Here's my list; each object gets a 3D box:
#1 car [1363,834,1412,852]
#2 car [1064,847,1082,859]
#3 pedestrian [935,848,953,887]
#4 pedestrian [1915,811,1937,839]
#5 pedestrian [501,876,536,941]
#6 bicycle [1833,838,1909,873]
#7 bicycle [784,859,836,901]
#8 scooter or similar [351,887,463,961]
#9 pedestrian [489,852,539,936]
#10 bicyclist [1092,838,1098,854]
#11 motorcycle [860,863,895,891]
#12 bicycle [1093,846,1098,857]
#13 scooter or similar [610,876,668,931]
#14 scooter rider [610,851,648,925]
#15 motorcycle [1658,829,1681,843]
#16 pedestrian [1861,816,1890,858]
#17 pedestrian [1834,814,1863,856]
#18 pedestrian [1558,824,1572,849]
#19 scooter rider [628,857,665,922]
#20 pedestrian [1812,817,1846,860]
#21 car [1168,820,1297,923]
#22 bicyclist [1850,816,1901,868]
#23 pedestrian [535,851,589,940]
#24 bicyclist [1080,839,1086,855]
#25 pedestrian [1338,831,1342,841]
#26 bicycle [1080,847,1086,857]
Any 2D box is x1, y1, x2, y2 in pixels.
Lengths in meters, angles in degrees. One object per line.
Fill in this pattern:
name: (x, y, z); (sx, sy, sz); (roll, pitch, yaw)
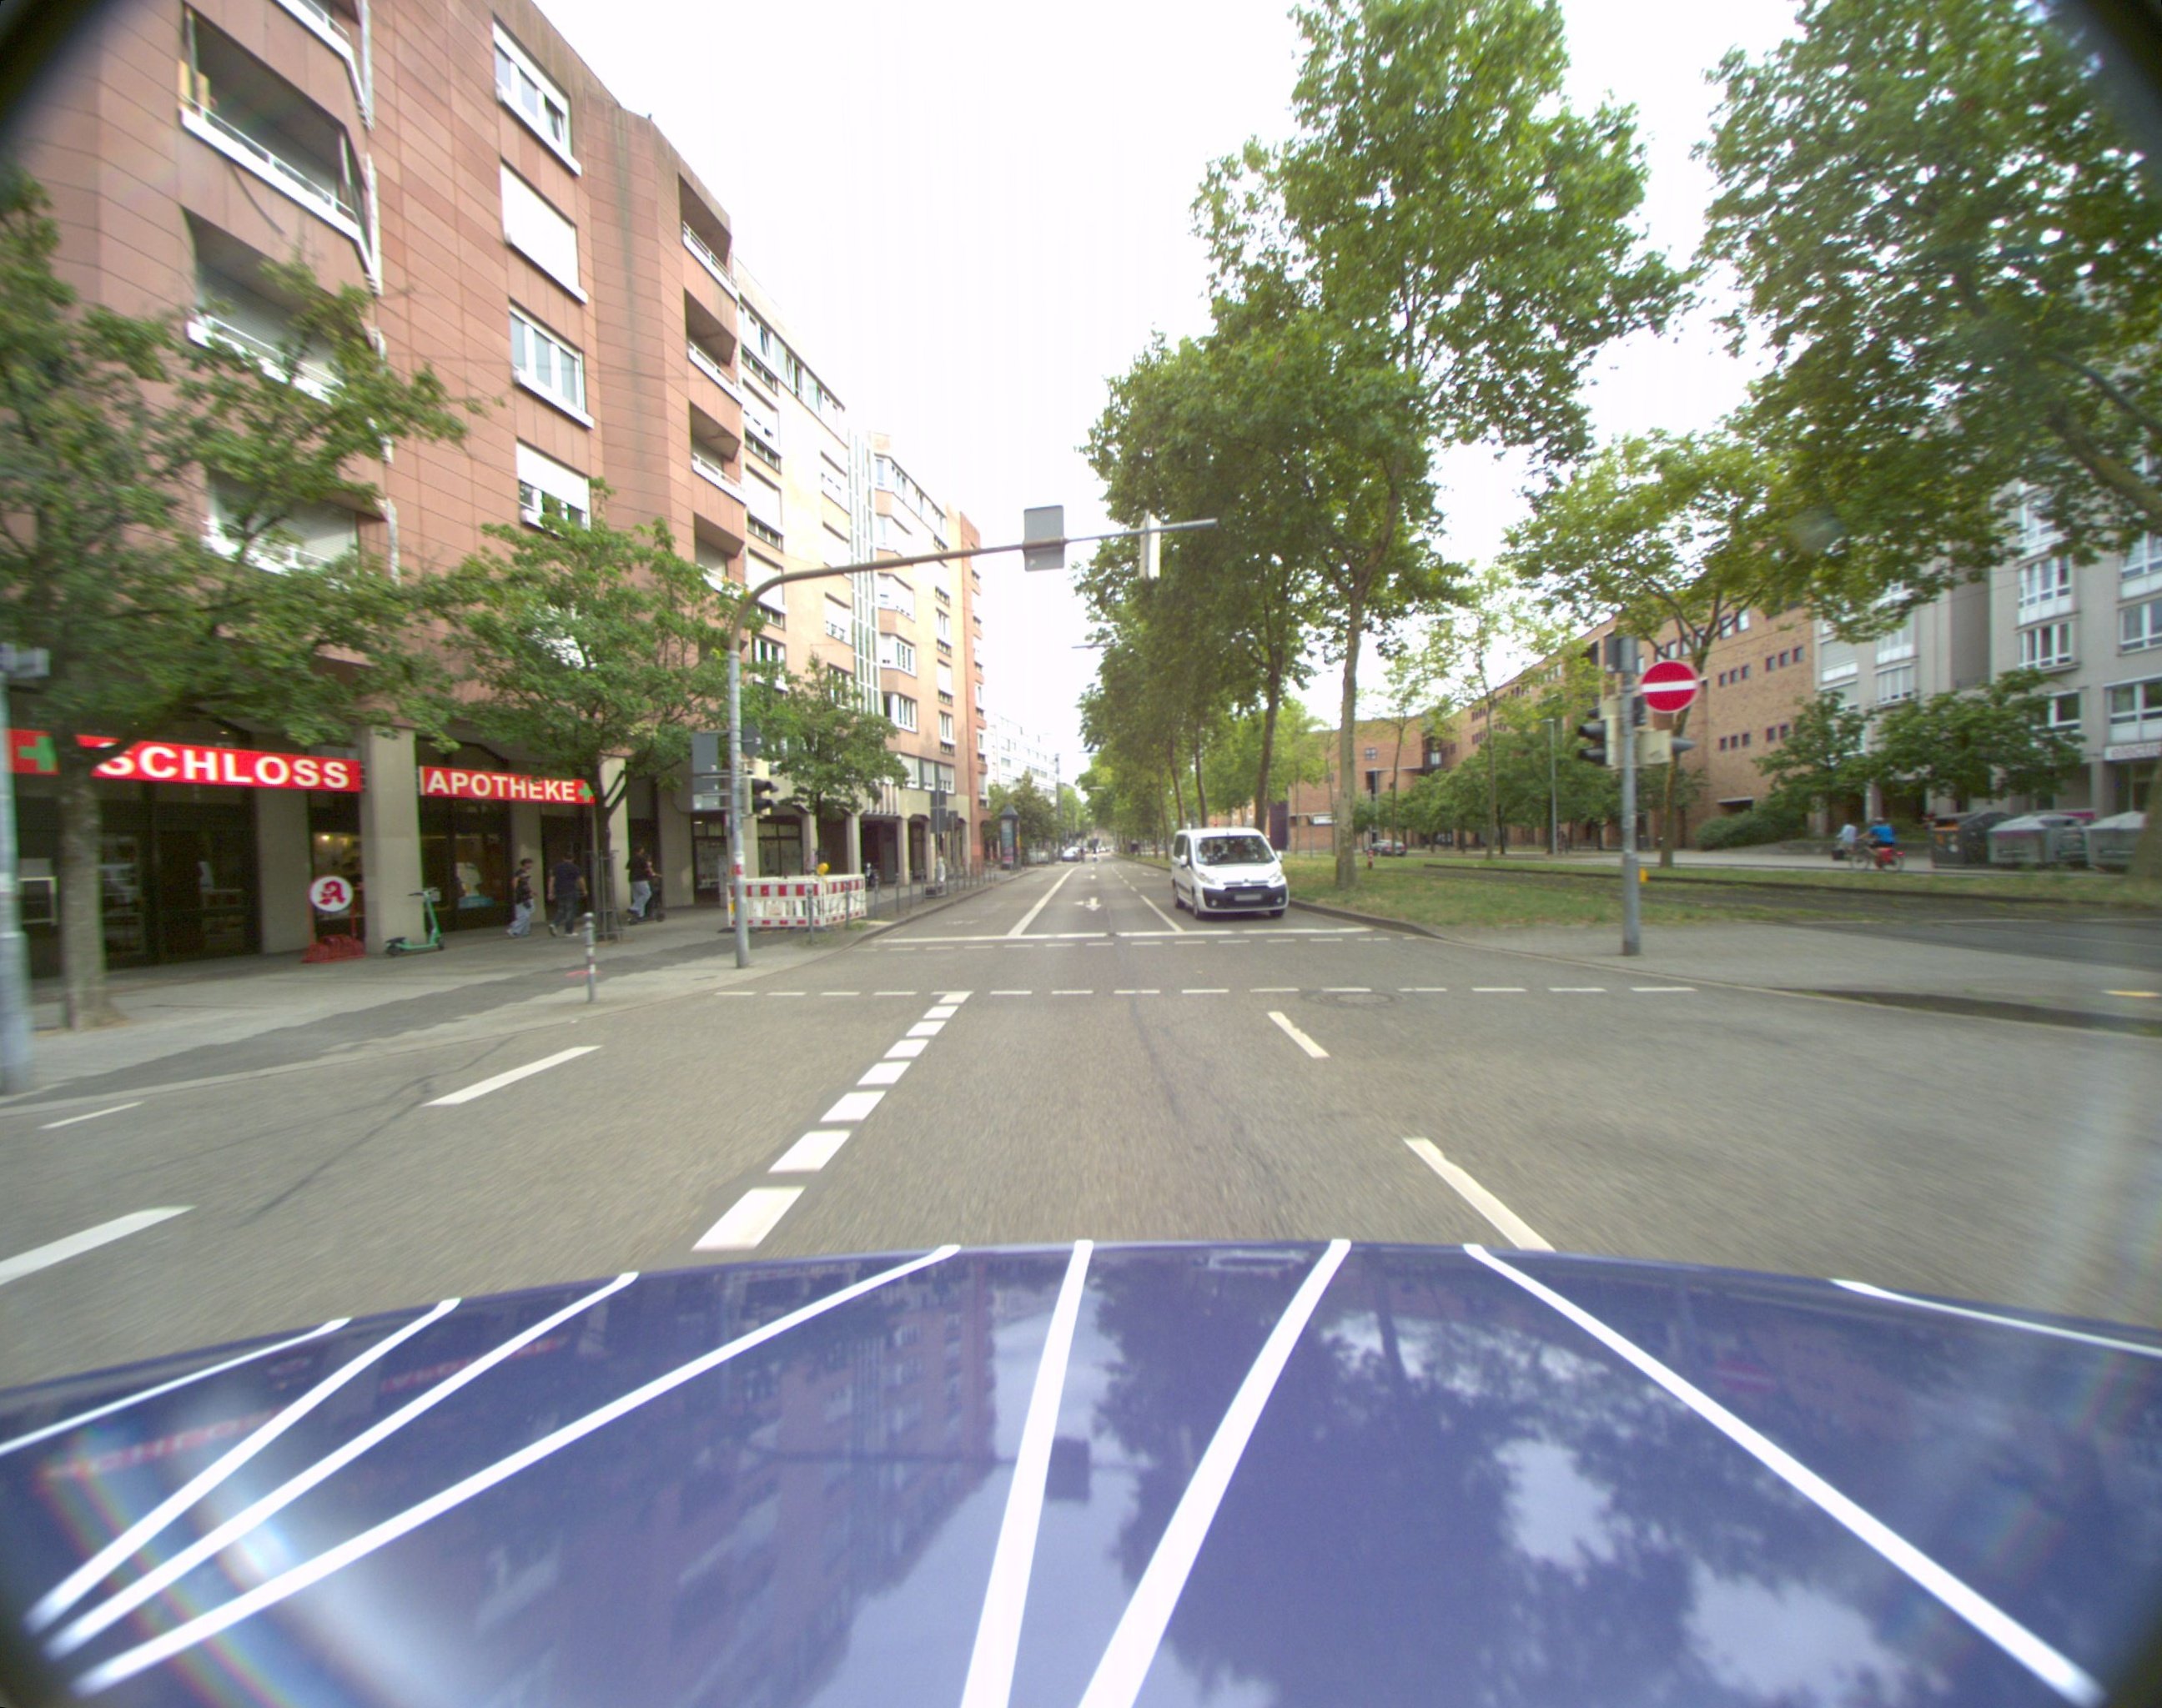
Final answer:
car: (22.494, -0.813, 55.950); (1.734, 1.238, 4.534); (-2, 1, 1)
car: (-0.985, -0.183, 94.938); (1.821, 1.434, 4.666); (-1, 1, 3)
pedestrian: (-5.986, 0.589, 33.239); (0.545, 1.640, 0.825); (-2, 1, 2)
pedestrian: (40.395, -1.399, 36.314); (0.458, 1.315, 0.555); (-2, 1, 12)
pedestrian: (-11.883, 1.147, 16.044); (0.486, 1.316, 0.487); (-3, 2, -43)
bicycle: (26.264, 0.029, 25.318); (0.692, 1.086, 1.877); (-2, 1, 5)
bicycle: (-8.030, 0.752, 22.590); (0.613, 1.111, 1.805); (-2, 1, 9)
scooter or similar: (-12.085, 1.237, 13.681); (0.554, 1.163, 1.407); (-2, 1, 10)
pedestrian: (-12.447, 0.868, 16.688); (0.552, 1.789, 0.658); (-1, 2, 32)
bicyclist: (1.566, -0.844, 83.076); (0.591, 1.760, 1.035); (-1, 1, 1)
motorcycle: (-8.632, 0.958, 32.308); (0.617, 1.149, 1.905); (0, 1, 13)
bicycle: (1.578, -0.297, 83.067); (0.595, 1.132, 1.858); (-1, 1, 1)
scooter or similar: (-10.577, 1.158, 18.230); (0.474, 1.199, 1.330); (-2, 1, 5)
scooter rider: (-10.621, 0.786, 17.870); (0.463, 1.710, 0.553); (-2, 2, 7)
motorcycle: (46.679, -1.409, 60.260); (1.585, 1.017, 0.365); (-2, 2, -1)
pedestrian: (32.271, -0.689, 30.867); (0.553, 1.695, 0.626); (-1, 2, 6)
pedestrian: (31.094, -0.766, 30.786); (0.553, 1.695, 0.626); (-2, 1, 6)
pedestrian: (33.045, -1.197, 51.847); (0.553, 1.695, 0.626); (-2, 1, 6)
scooter rider: (-10.563, 0.852, 18.485); (0.461, 1.548, 0.565); (-2, 2, 5)
pedestrian: (30.362, -0.616, 30.841); (0.553, 1.695, 0.884); (-2, 1, 6)
car: (3.188, 0.309, 17.003); (1.936, 1.914, 4.955); (-2, 1, 1)
bicyclist: (26.231, -0.381, 25.097); (0.691, 1.663, 0.953); (-2, 1, 5)
pedestrian: (-10.815, 0.855, 15.843); (0.552, 1.789, 0.658); (-2, 2, 12)
bicyclist: (0.255, -0.727, 82.911); (0.591, 1.758, 1.035); (-1, 1, 1)
pedestrian: (42.395, -2.939, 124.388); (0.507, 1.523, 0.521); (-1, 1, 16)
bicycle: (0.267, -0.243, 82.969); (0.595, 1.132, 2.091); (-1, 1, 1)
